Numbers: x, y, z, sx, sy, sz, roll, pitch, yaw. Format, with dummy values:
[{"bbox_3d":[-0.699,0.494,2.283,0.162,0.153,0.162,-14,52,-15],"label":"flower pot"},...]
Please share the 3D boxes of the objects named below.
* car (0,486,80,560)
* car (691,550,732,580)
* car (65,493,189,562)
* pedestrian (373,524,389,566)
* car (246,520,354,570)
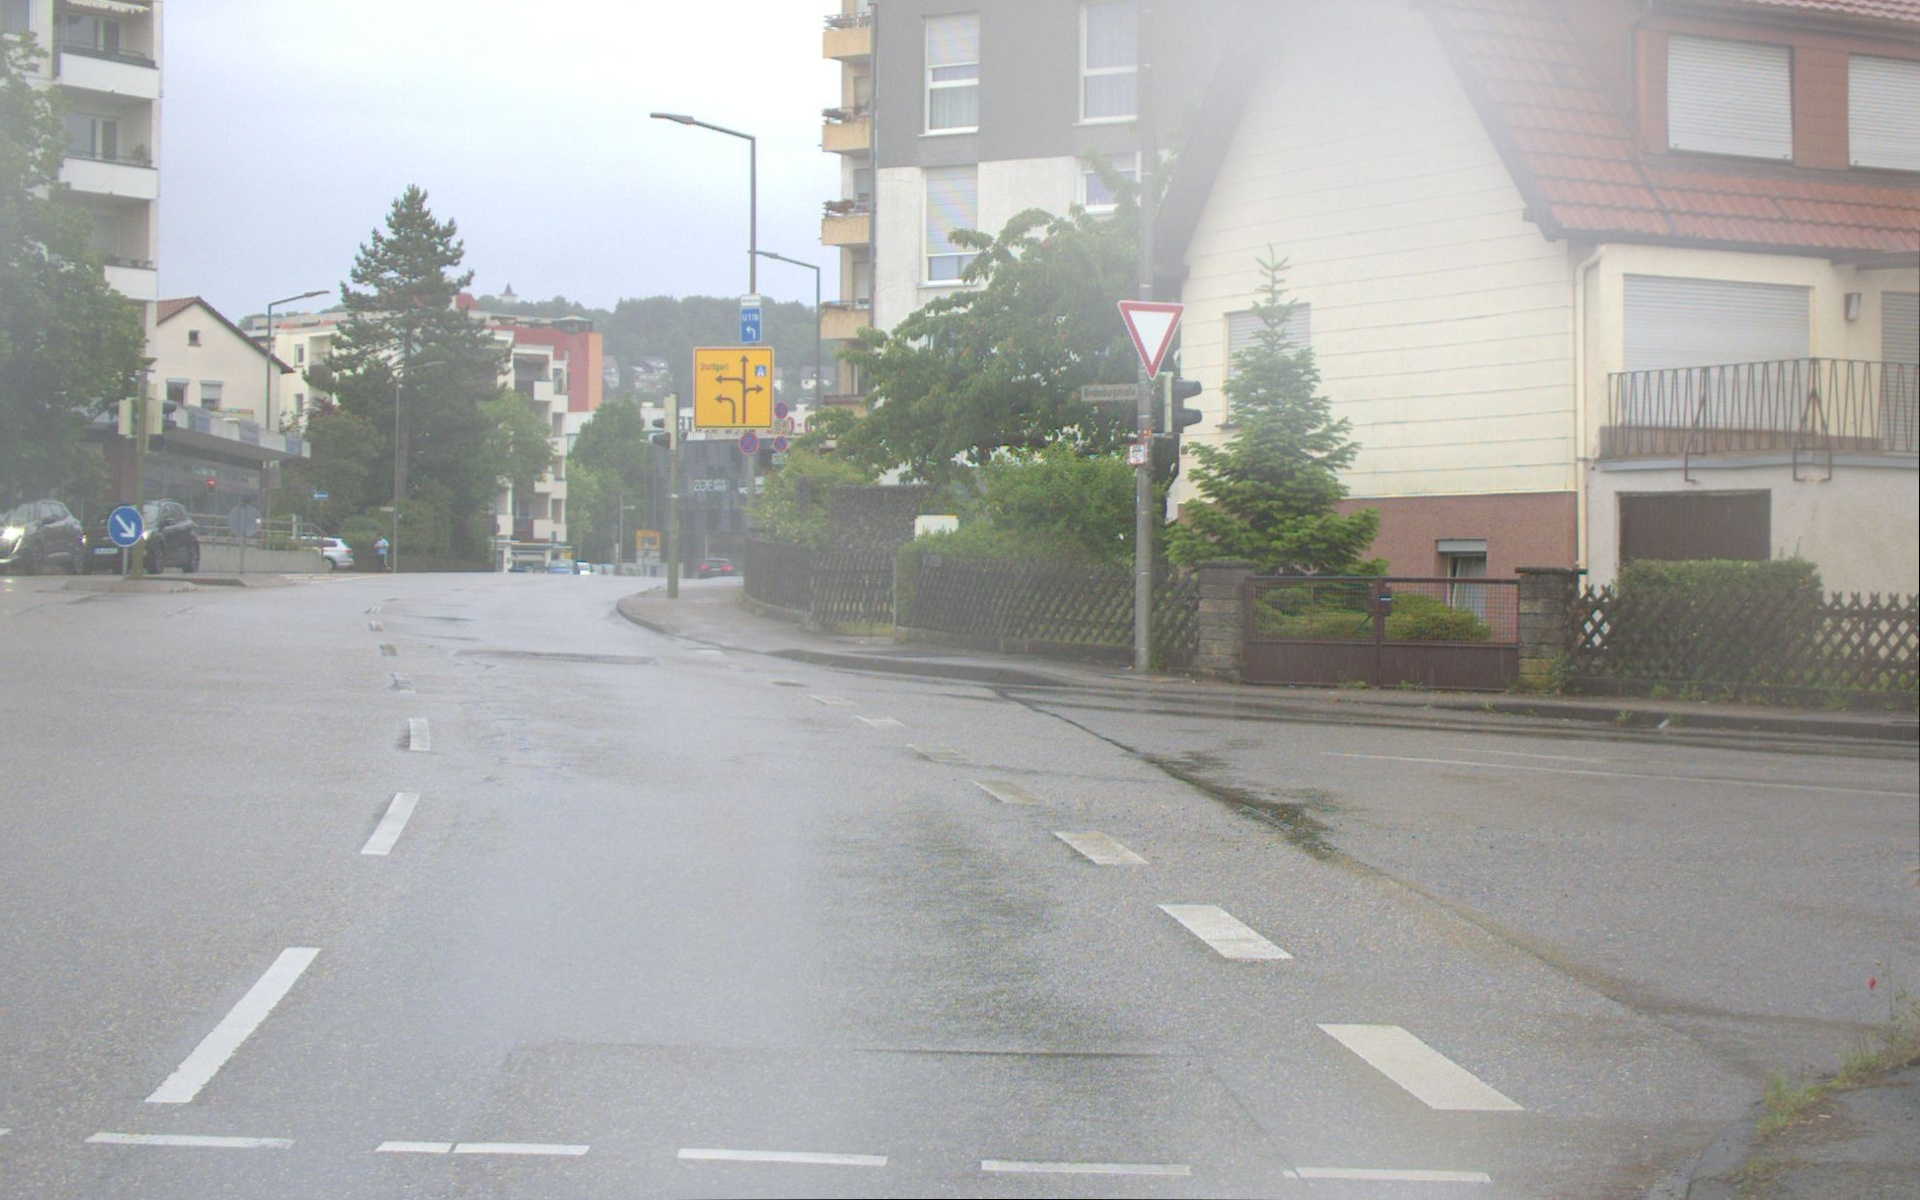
[{"bbox_3d":[-18.337,-1.509,66.353,1.715,1.382,4.021,1,2,-1],"label":"car"},{"bbox_3d":[-12.884,-1.832,178.545,1.813,1.481,4.189,0,2,0],"label":"car"},{"bbox_3d":[-17.959,-1.583,74.228,1.778,1.415,3.831,1,2,-1],"label":"car"},{"bbox_3d":[-23.139,-2.203,137.296,0.497,1.652,0.434,1,1,9],"label":"pedestrian"},{"bbox_3d":[-25.038,-2.092,130.514,3.848,1.809,1.761,1,2,-4],"label":"car"}]
